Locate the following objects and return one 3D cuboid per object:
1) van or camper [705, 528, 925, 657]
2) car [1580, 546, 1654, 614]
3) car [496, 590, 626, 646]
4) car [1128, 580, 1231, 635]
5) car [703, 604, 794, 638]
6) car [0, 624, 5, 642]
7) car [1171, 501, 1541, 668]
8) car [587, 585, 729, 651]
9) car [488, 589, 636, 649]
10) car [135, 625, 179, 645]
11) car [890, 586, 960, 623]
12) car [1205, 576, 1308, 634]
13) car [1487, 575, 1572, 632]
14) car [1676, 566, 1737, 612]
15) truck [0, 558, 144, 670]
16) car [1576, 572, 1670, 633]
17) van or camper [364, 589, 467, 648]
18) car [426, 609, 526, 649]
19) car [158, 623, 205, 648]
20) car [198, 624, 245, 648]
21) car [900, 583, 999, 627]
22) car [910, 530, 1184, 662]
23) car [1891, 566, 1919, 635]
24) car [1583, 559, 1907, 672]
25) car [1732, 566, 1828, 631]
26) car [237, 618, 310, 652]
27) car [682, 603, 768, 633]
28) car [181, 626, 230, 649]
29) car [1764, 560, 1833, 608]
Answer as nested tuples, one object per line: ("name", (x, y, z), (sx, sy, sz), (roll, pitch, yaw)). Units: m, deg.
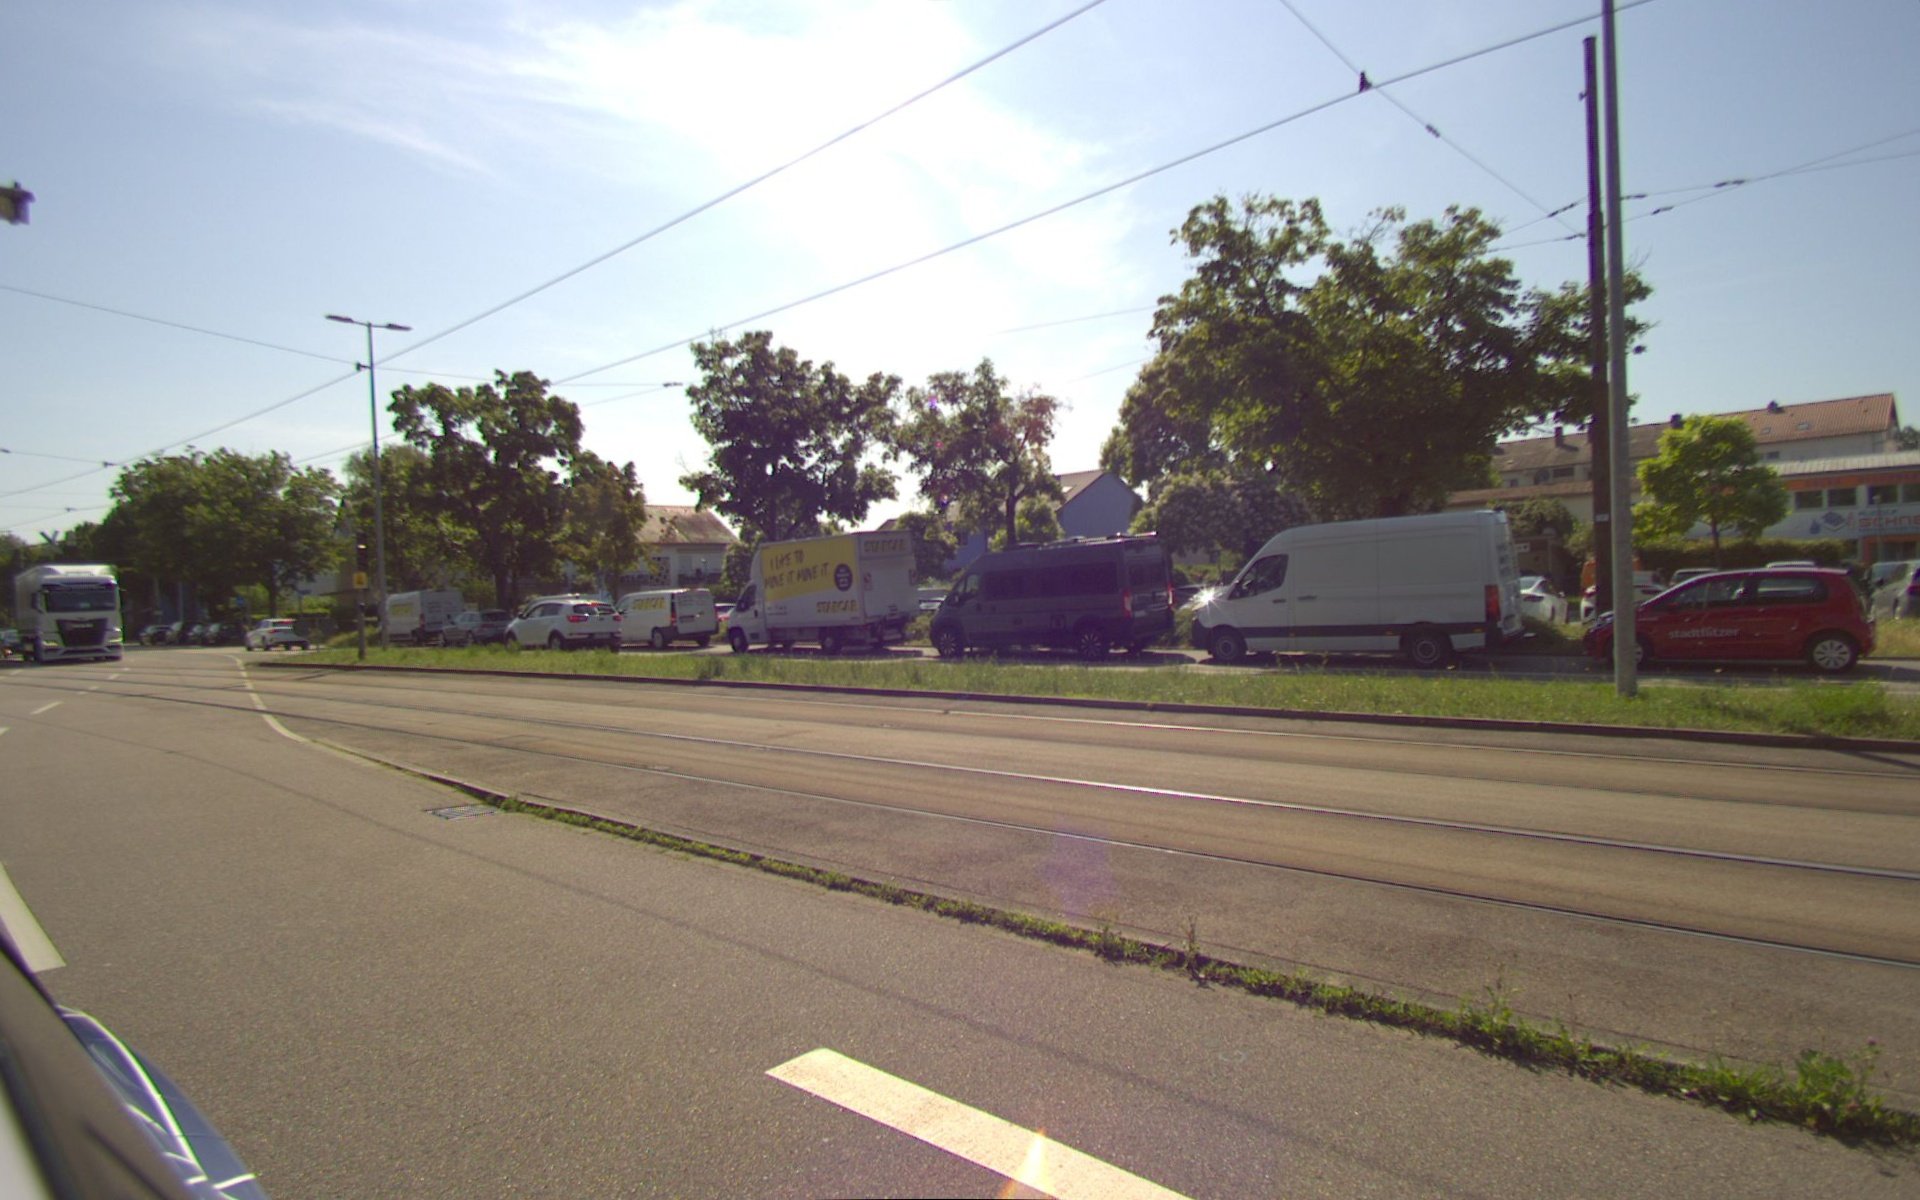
("van or camper", (-4.285, -0.161, 28.783), (6.769, 3.265, 2.173), (-2, 2, 42))
("car", (23.280, -0.686, 35.802), (1.907, 2.216, 3.951), (-2, 0, 36))
("car", (-15.425, 0.713, 38.985), (5.175, 1.955, 2.177), (-2, 1, 36))
("car", (7.291, 0.216, 33.386), (1.662, 1.707, 3.947), (-2, 0, 39))
("car", (-9.847, 0.953, 47.389), (1.731, 1.420, 3.947), (-2, 0, 39))
("car", (-99.187, 3.452, 103.043), (3.989, 1.829, 1.977), (-2, 0, 34))
("car", (7.203, -0.226, 18.906), (5.975, 2.650, 2.174), (-2, 2, 41))
("car", (-10.373, 0.624, 34.534), (5.183, 1.955, 2.173), (-2, 2, 42))
("car", (-11.536, 0.562, 29.184), (4.656, 1.609, 2.022), (-2, -1, 40))
("car", (-61.124, 2.661, 76.993), (4.452, 1.446, 1.659), (-2, 0, 38))
("car", (-1.905, 0.249, 56.505), (1.782, 1.905, 3.951), (-2, 0, 36))
("car", (9.363, 0.129, 31.762), (1.662, 1.707, 3.947), (-2, 0, 39))
("car", (15.206, 0.063, 26.941), (1.486, 1.381, 3.951), (-2, 0, 36))
("car", (25.220, -0.388, 34.170), (1.530, 1.435, 3.809), (-2, 0, 38))
("truck", (-39.079, 0.609, 43.868), (14.282, 4.099, 3.348), (-1, 3, 42))
("car", (16.440, 0.039, 25.014), (1.658, 1.381, 3.950), (-2, 0, 37))
("van or camper", (-25.384, 0.897, 47.062), (6.145, 2.533, 2.233), (-2, 0, 42))
("car", (-20.420, 1.210, 42.601), (4.882, 1.465, 1.913), (-2, 2, 40))
("car", (-55.937, 2.536, 72.692), (4.237, 1.625, 1.659), (-1, 0, 38))
("car", (-48.029, 2.339, 65.794), (4.081, 1.461, 1.599), (-2, 0, 42))
("car", (-0.356, 0.171, 39.154), (1.662, 1.555, 3.947), (-2, 0, 39))
("car", (1.880, -0.053, 23.487), (6.074, 2.688, 2.174), (-2, 2, 40))
("car", (20.536, -0.022, 20.854), (1.486, 1.381, 3.951), (-2, 0, 36))
("car", (11.565, 0.237, 15.148), (3.672, 1.501, 1.279), (-2, 0, 39))
("car", (18.894, -0.050, 23.436), (1.486, 1.381, 3.951), (-2, 0, 36))
("car", (-31.472, 1.587, 46.374), (4.335, 1.433, 1.772), (-2, 0, 42))
("car", (-11.435, 0.861, 49.403), (1.662, 1.280, 3.877), (-2, 0, 39))
("car", (-51.569, 2.573, 69.141), (4.577, 1.405, 1.680), (-2, 0, 40))
("car", (26.997, -0.529, 32.656), (1.530, 1.435, 3.809), (-2, 0, 38))
